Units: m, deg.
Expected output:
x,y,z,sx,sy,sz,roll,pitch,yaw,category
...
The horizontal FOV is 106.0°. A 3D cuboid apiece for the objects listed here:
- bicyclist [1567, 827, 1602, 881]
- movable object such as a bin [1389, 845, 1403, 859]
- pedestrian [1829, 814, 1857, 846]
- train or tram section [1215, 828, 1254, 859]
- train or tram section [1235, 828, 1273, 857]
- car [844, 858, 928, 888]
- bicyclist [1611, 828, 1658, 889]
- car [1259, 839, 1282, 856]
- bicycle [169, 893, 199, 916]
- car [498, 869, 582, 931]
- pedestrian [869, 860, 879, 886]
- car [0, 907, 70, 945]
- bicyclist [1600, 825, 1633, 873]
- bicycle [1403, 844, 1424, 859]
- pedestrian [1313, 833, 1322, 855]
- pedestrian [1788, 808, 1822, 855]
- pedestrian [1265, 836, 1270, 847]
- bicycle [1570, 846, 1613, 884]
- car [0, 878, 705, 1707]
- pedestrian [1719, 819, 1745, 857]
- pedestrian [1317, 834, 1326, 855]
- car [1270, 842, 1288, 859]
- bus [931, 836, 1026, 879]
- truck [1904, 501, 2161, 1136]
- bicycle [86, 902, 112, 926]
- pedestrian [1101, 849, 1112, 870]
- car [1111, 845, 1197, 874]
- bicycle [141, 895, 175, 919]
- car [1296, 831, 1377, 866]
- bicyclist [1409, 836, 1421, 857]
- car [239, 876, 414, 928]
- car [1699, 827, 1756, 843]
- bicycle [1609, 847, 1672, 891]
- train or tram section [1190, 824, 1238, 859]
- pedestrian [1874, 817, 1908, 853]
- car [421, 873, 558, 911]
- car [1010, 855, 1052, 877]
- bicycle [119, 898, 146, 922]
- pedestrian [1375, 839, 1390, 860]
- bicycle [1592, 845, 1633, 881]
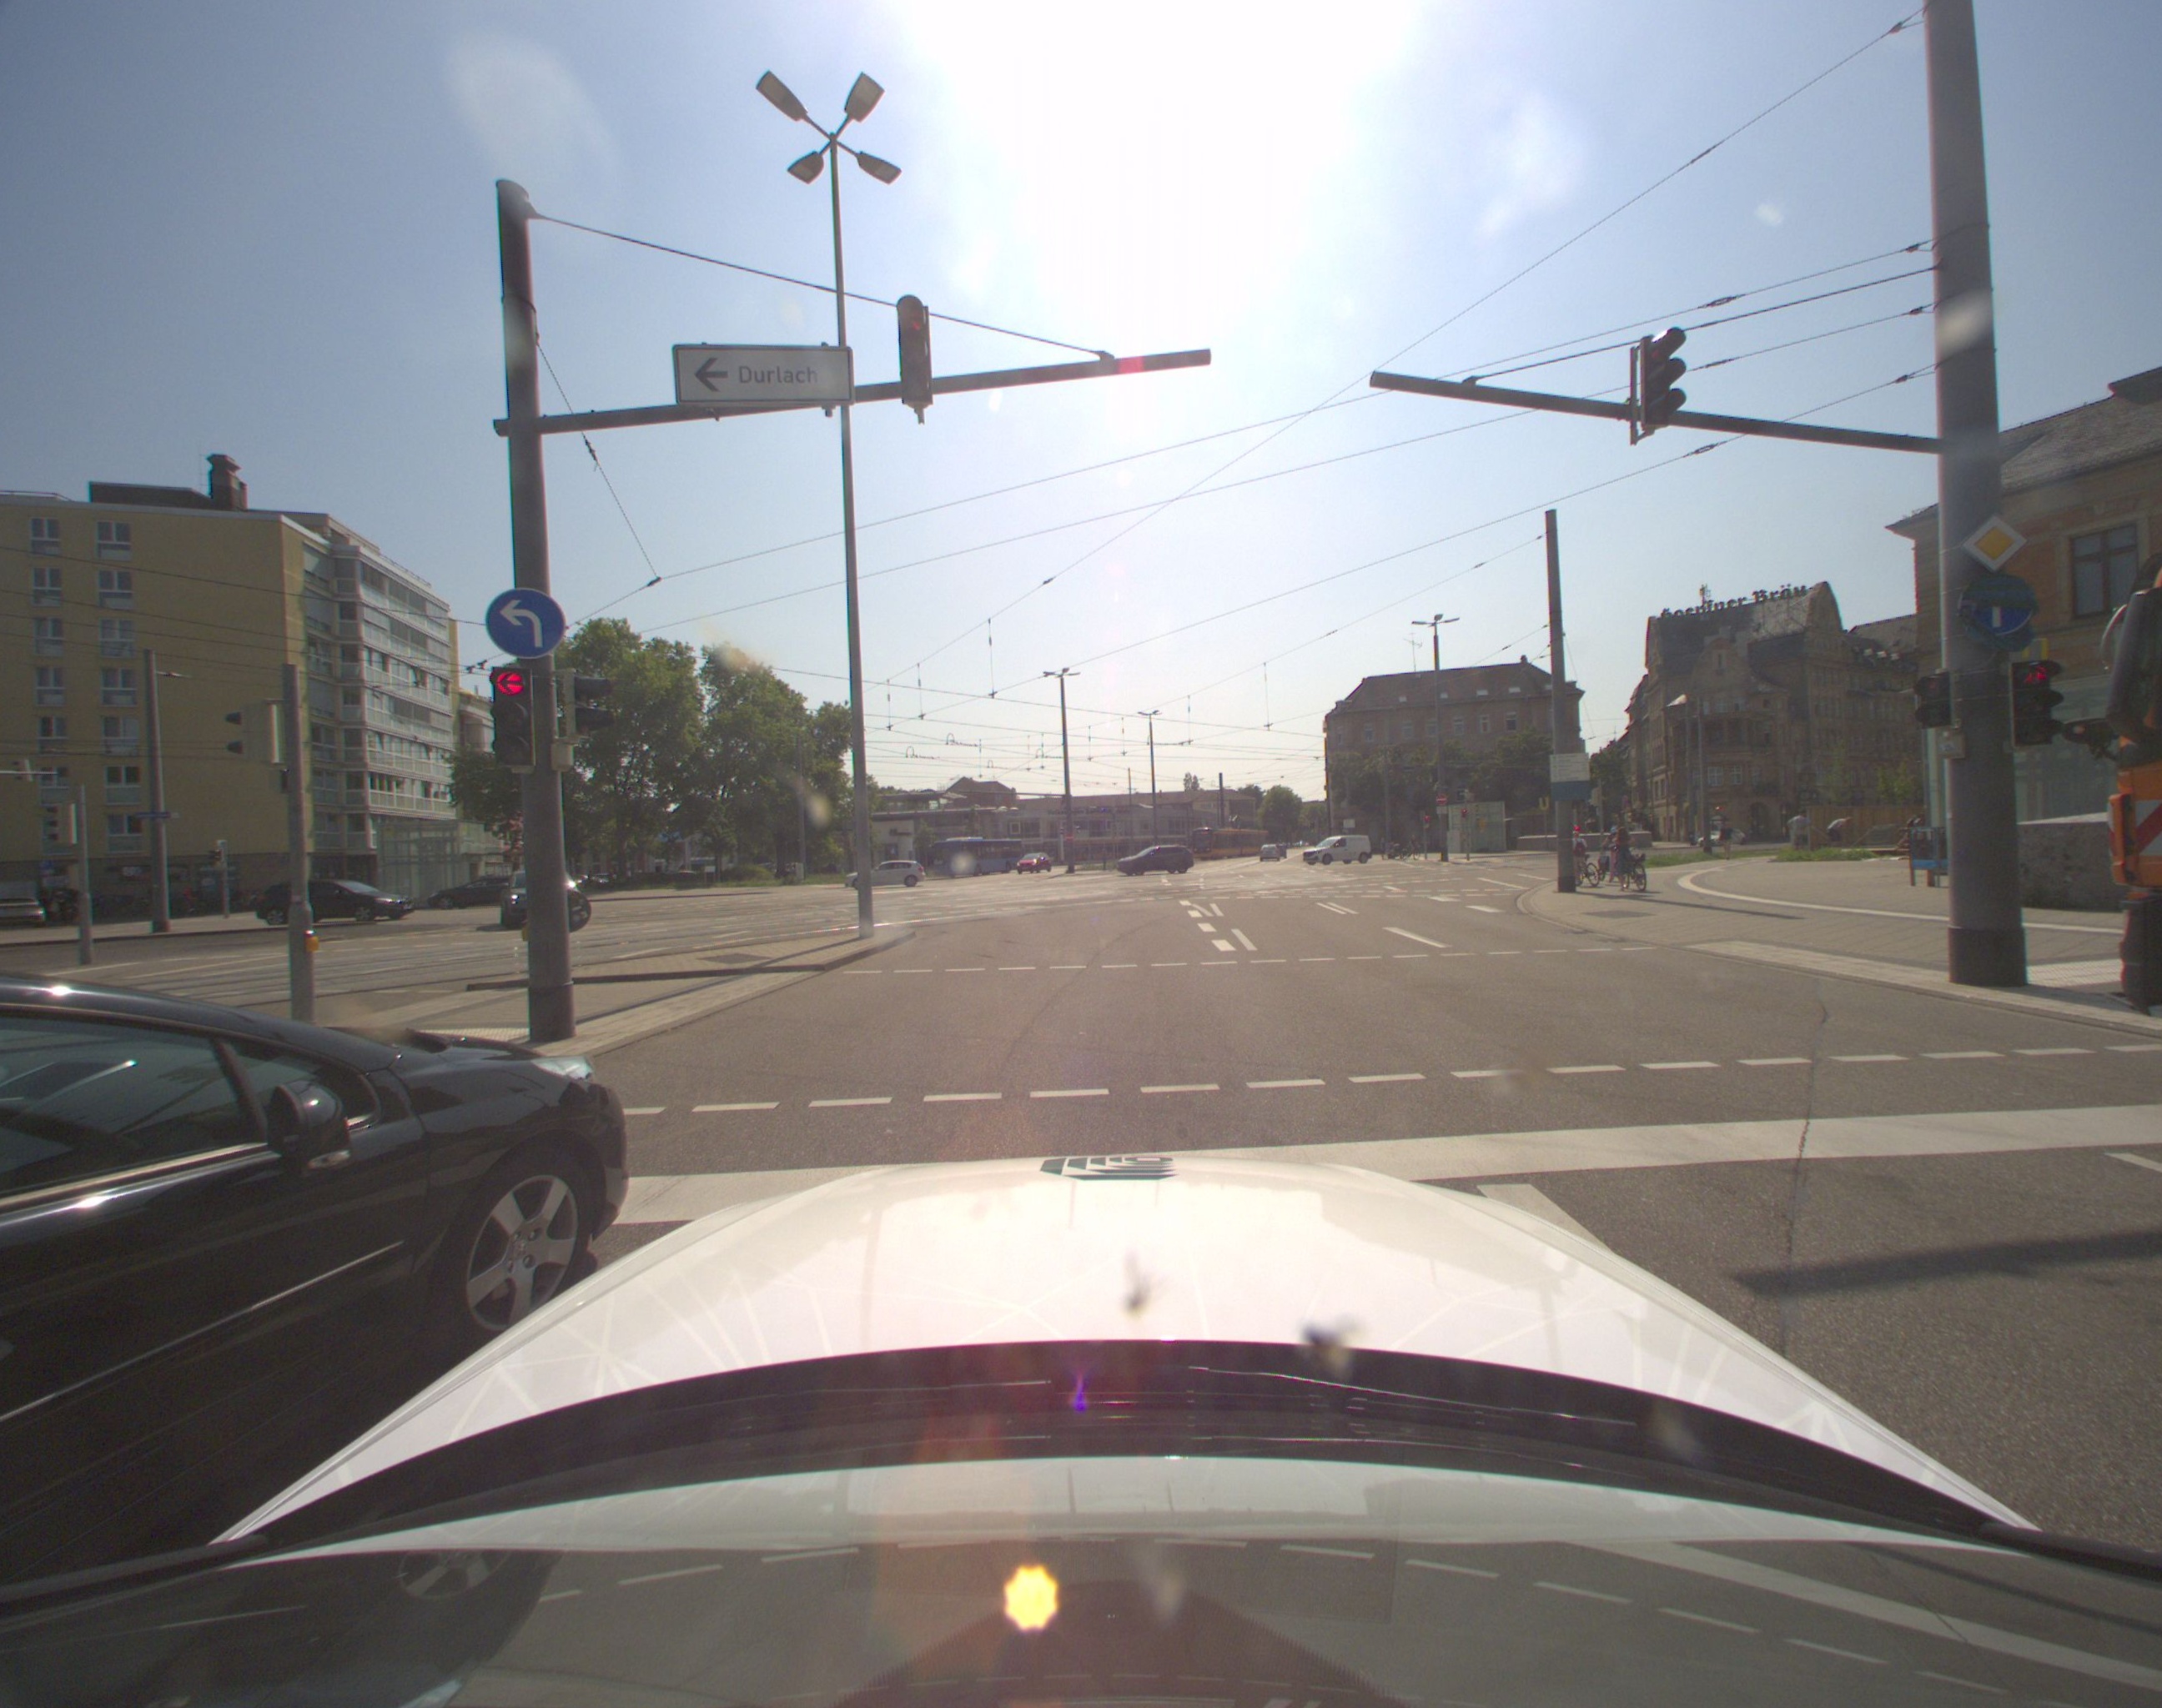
x,y,z,sx,sy,sz,roll,pitch,yaw,category
14.639,0.000,23.688,0.623,1.517,0.715,-2,0,14,bicyclist
23.872,-0.148,61.803,0.812,1.077,0.510,-2,0,-9,movable object such as a bin
29.766,-0.936,31.809,0.658,1.214,0.531,-2,0,30,pedestrian
18.739,-1.311,99.099,2.565,3.516,9.712,-2,0,23,train or tram section
23.404,-1.519,109.576,2.565,3.516,13.044,-2,0,23,train or tram section
-10.390,0.986,43.294,4.199,1.415,1.765,-2,0,-18,car
14.187,0.109,20.876,0.730,1.517,0.665,-2,0,6,bicyclist
17.066,-0.626,73.426,1.759,1.415,4.201,-2,0,11,car
-49.164,2.758,44.623,3.220,1.204,0.699,-3,0,36,bicycle
-16.136,1.298,24.178,1.780,1.600,4.492,-2,0,-37,car
-14.153,1.294,55.623,0.554,1.684,0.451,-2,0,-17,pedestrian
-48.032,3.270,37.371,3.948,1.508,1.759,-2,0,35,car
16.232,-0.157,24.715,0.526,1.393,0.897,-2,0,14,bicyclist
24.397,-0.209,59.827,0.470,1.055,1.643,-2,0,-18,bicycle
33.617,-1.379,115.721,0.978,3.017,0.977,-2,0,7,pedestrian
27.158,-0.841,30.541,0.549,1.724,0.812,-2,0,-39,pedestrian
35.817,-2.455,156.577,0.722,2.013,0.672,-2,0,19,pedestrian
14.624,0.299,23.352,0.532,1.055,1.660,-2,0,14,bicycle
-2.639,0.809,1.565,1.757,1.388,3.787,-1,0,6,car
27.730,-0.663,34.681,0.794,1.575,0.729,-2,0,-44,pedestrian
34.467,-1.381,116.888,0.978,3.017,0.977,-2,0,7,pedestrian
20.175,-0.389,82.848,1.625,1.618,4.016,-2,0,14,car
-8.120,0.209,66.985,2.541,3.082,12.082,-3,0,19,bus
6.418,-0.206,1.799,2.481,3.134,6.869,-2,0,4,truck
-52.712,3.228,43.700,2.754,1.204,0.699,-3,0,36,bicycle
1.850,0.395,58.891,0.678,1.443,0.364,-2,0,-15,pedestrian
4.309,0.296,48.189,4.624,1.505,1.987,-2,0,-19,car
-50.446,2.873,44.498,3.220,1.204,0.916,-3,0,36,bicycle
16.170,-0.326,51.580,4.624,2.013,1.987,-2,0,-19,car
24.455,-0.570,59.652,0.614,1.528,0.517,-2,0,-22,bicyclist
-26.928,1.681,29.220,4.201,1.560,1.731,-2,0,-14,car
53.083,-1.543,66.866,4.004,1.090,1.985,-2,0,-23,car
14.164,0.367,20.673,0.489,1.055,1.826,-2,0,7,bicycle
14.801,-1.388,89.695,2.565,3.516,10.958,-2,0,23,train or tram section
31.996,-0.745,32.162,0.768,1.399,0.687,-2,0,-23,pedestrian
-27.267,1.726,37.738,4.766,1.415,1.765,-2,0,-18,car
-3.834,0.943,63.599,1.735,1.552,4.020,-3,0,20,car
-51.450,3.045,44.162,3.220,1.204,0.699,-3,0,36,bicycle
23.004,-0.348,62.081,0.849,1.545,0.527,-2,0,-6,pedestrian
16.354,0.258,25.094,0.532,1.055,1.660,-2,0,14,bicycle
